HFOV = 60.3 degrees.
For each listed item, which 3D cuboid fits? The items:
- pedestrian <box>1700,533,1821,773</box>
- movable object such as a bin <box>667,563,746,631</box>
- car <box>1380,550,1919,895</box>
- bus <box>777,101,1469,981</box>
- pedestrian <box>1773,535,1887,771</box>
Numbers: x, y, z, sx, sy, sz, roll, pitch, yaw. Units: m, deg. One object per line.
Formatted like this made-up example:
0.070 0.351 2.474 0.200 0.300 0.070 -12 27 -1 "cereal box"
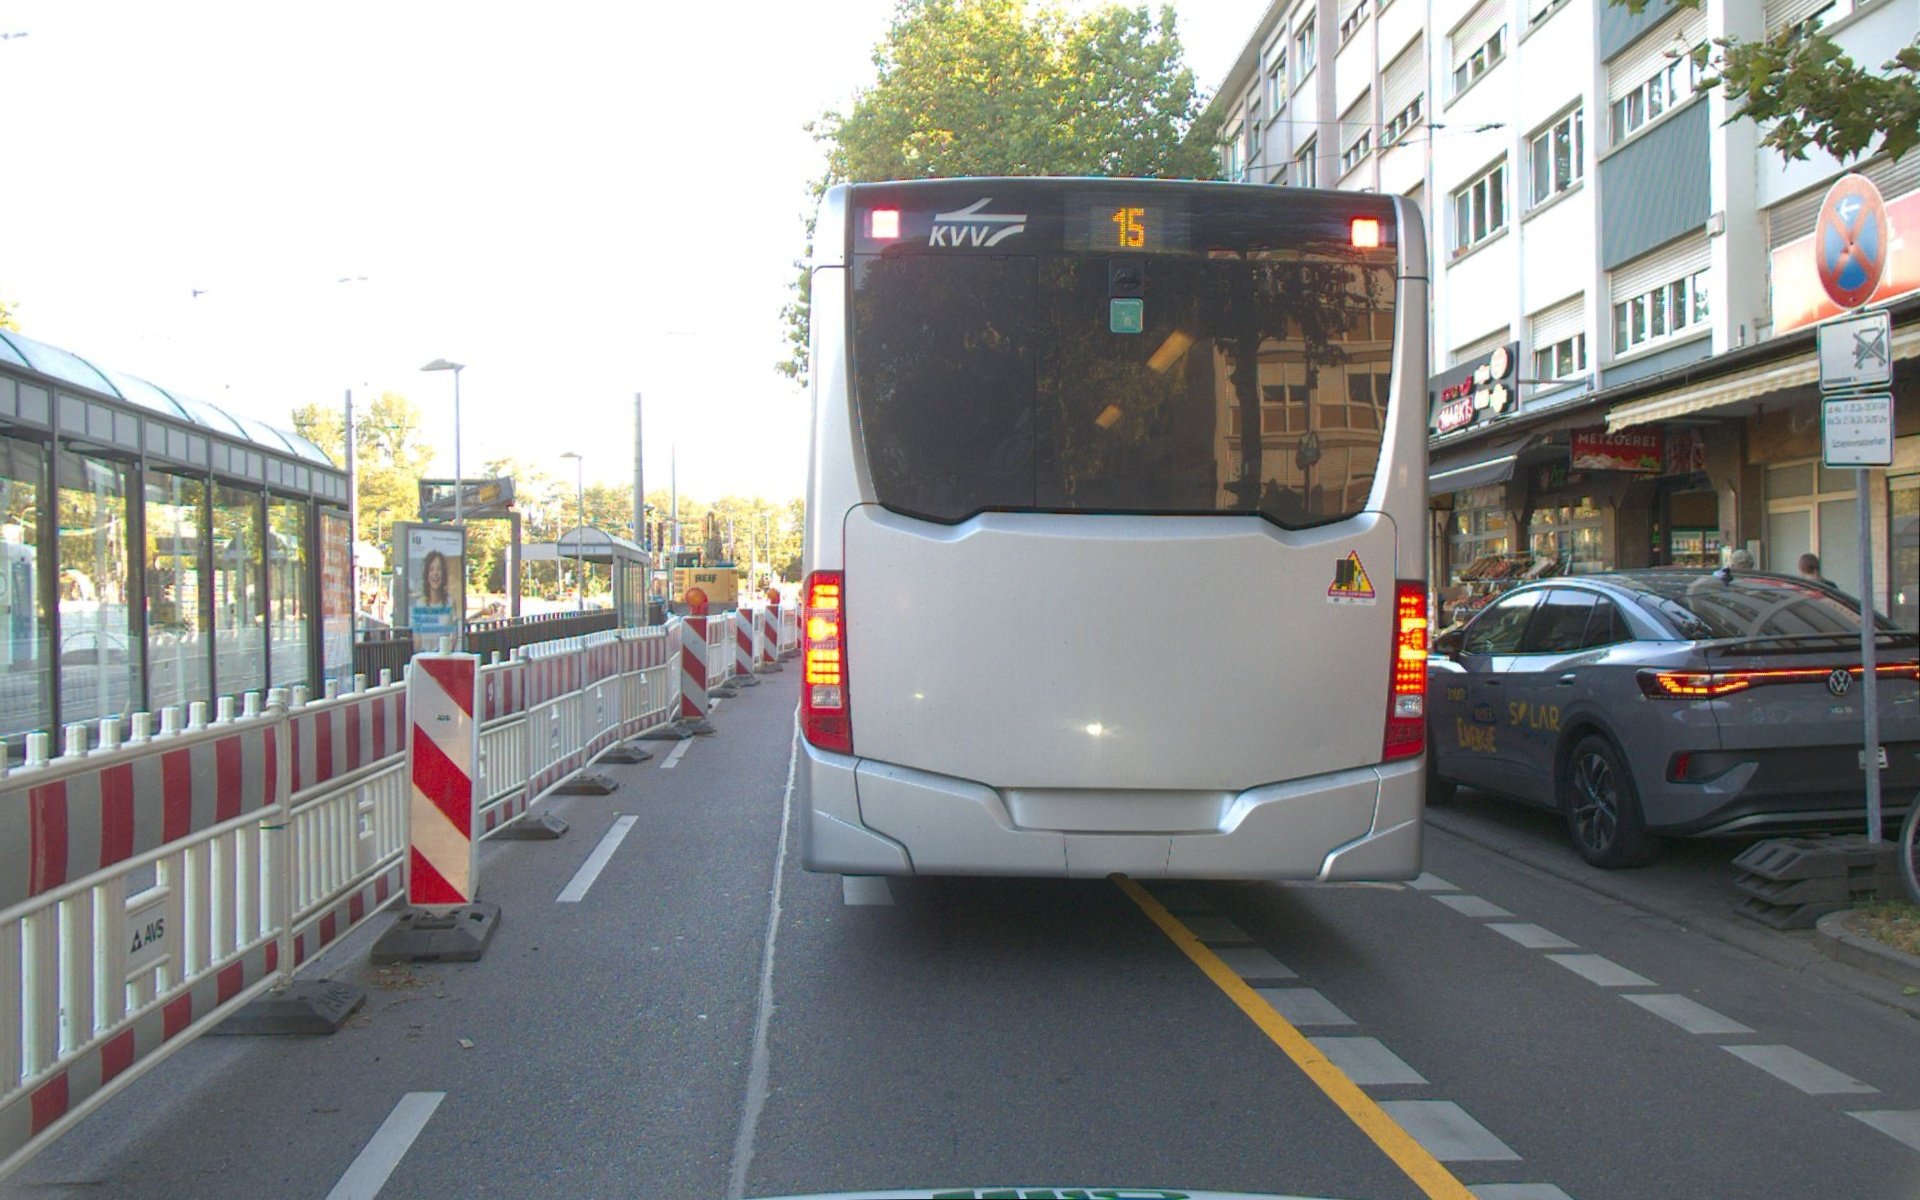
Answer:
7.032 0.455 14.552 0.677 2.049 0.695 -1 0 -7 "pedestrian"
-9.697 -0.115 63.492 2.752 2.505 3.995 -1 0 -6 "movable object such as a bin"
4.227 0.581 10.328 1.706 1.625 4.294 -3 0 -5 "car"
0.517 -0.220 11.237 2.555 3.225 10.289 0 0 -1 "bus"
7.767 0.458 14.787 0.600 2.049 0.696 -1 0 -4 "pedestrian"
